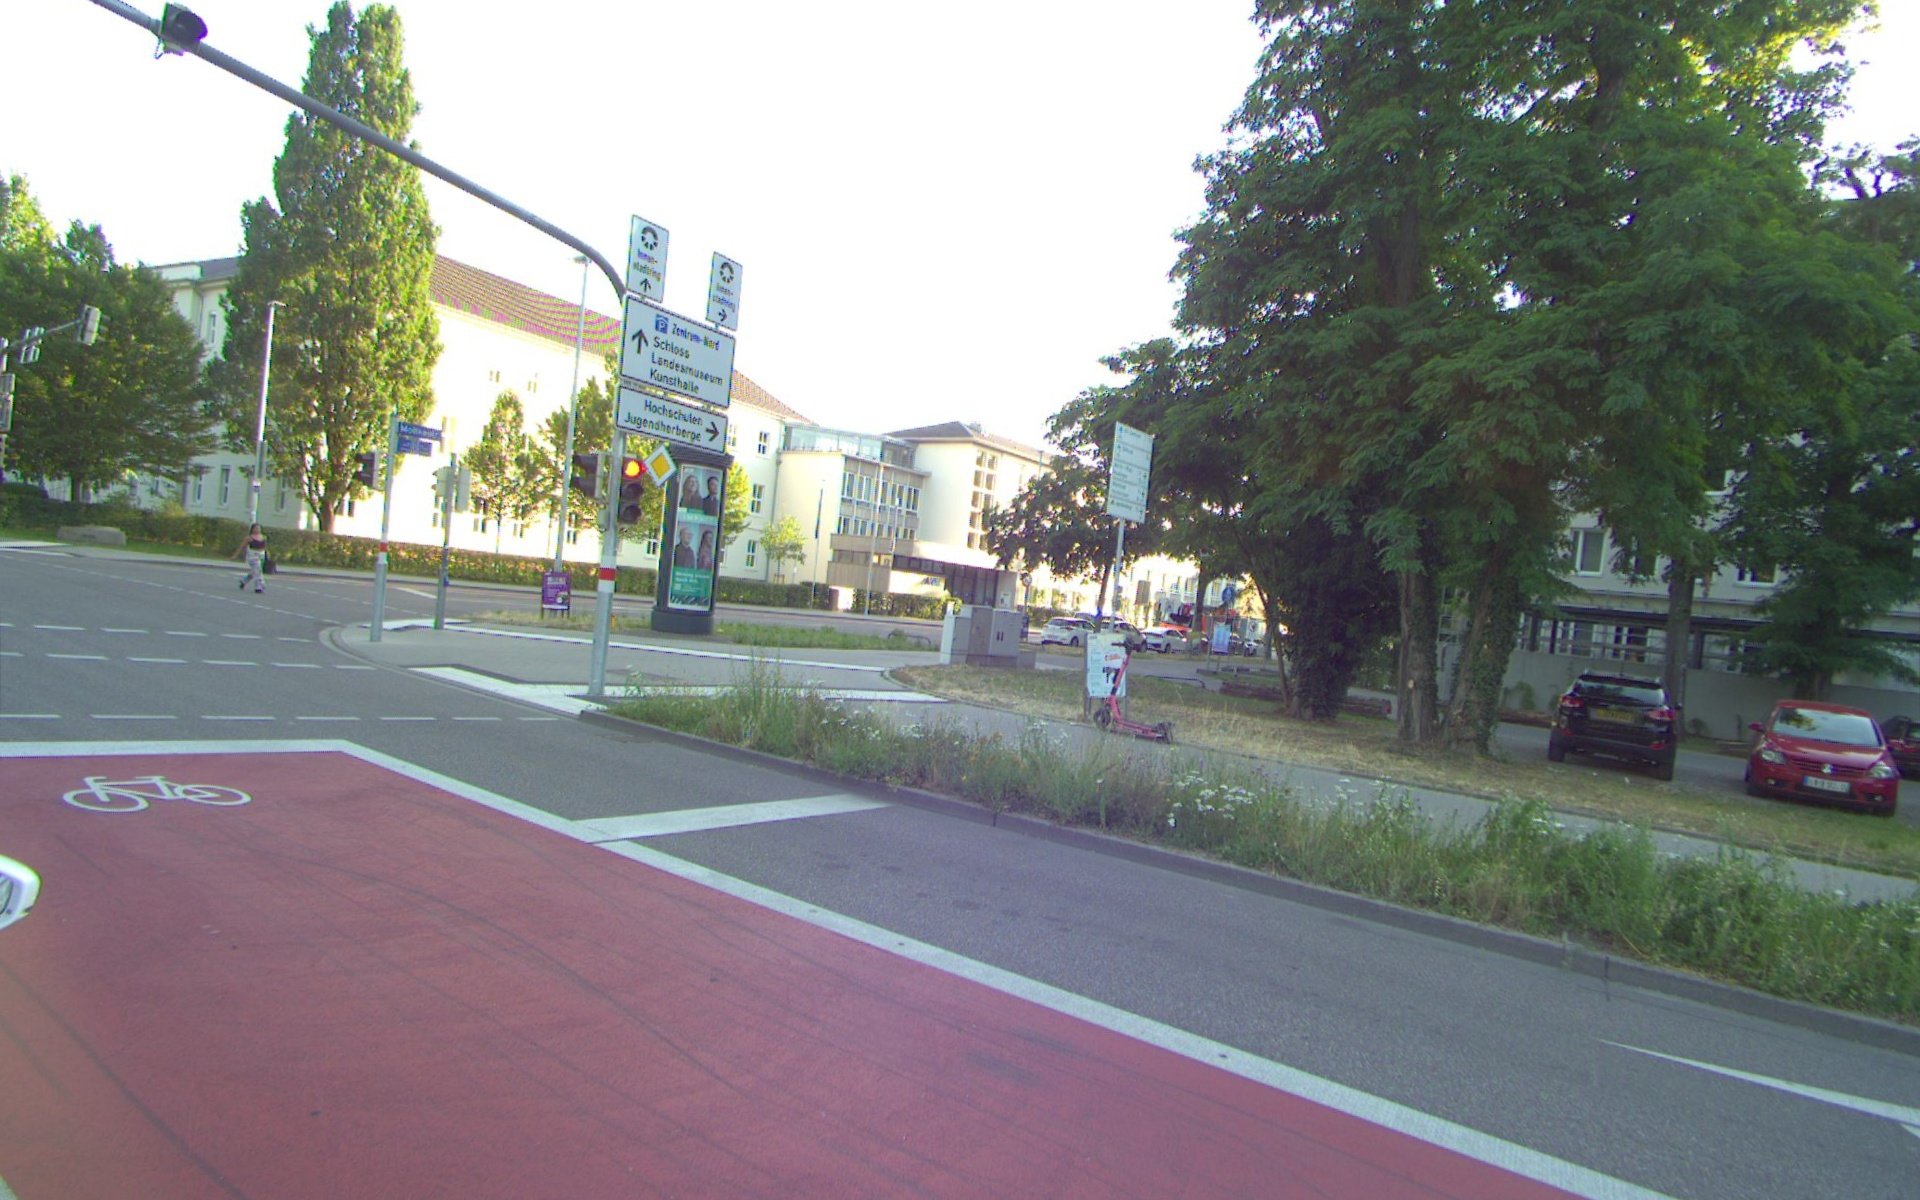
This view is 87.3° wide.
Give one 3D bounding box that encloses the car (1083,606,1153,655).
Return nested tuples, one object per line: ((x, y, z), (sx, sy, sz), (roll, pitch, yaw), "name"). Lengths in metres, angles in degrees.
((8.068, 1.582, 51.188), (1.713, 2.038, 3.988), (7, -1, 36), "car")

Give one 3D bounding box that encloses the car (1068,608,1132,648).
((7.738, 1.582, 55.266), (1.720, 1.783, 3.989), (7, -1, 35), "car")

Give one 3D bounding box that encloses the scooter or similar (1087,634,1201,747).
((2.329, 1.133, 12.807), (1.289, 1.247, 0.311), (7, 1, 32), "scooter or similar")

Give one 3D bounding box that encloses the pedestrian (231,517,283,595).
((-15.873, -0.988, 22.719), (0.680, 1.656, 0.600), (8, 1, 33), "pedestrian")

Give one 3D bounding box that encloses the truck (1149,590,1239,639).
((15.864, 1.058, 67.462), (2.327, 2.315, 10.049), (7, -1, 34), "truck")

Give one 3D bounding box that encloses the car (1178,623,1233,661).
((14.610, 2.493, 59.728), (1.698, 1.879, 3.989), (7, -1, 35), "car")

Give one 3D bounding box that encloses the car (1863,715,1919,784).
((23.180, 3.619, 24.031), (1.873, 1.459, 3.987), (7, -1, 37), "car")

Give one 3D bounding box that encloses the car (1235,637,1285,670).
((20.375, 3.654, 68.235), (1.873, 1.831, 3.988), (7, -1, 36), "car")

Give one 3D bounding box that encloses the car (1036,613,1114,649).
((5.480, 1.489, 47.708), (1.793, 1.358, 3.985), (6, 0, 37), "car")

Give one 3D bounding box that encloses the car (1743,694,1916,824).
((13.994, 2.452, 16.402), (1.759, 1.581, 3.984), (7, 0, 38), "car")

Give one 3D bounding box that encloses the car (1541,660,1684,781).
((11.766, 2.108, 18.064), (1.808, 1.715, 3.899), (7, -1, 36), "car")

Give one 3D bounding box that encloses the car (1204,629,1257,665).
((17.225, 3.029, 63.857), (1.789, 1.893, 4.136), (7, -1, 35), "car")

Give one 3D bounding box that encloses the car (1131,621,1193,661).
((11.076, 2.266, 55.105), (1.720, 1.783, 3.989), (7, -1, 35), "car")
